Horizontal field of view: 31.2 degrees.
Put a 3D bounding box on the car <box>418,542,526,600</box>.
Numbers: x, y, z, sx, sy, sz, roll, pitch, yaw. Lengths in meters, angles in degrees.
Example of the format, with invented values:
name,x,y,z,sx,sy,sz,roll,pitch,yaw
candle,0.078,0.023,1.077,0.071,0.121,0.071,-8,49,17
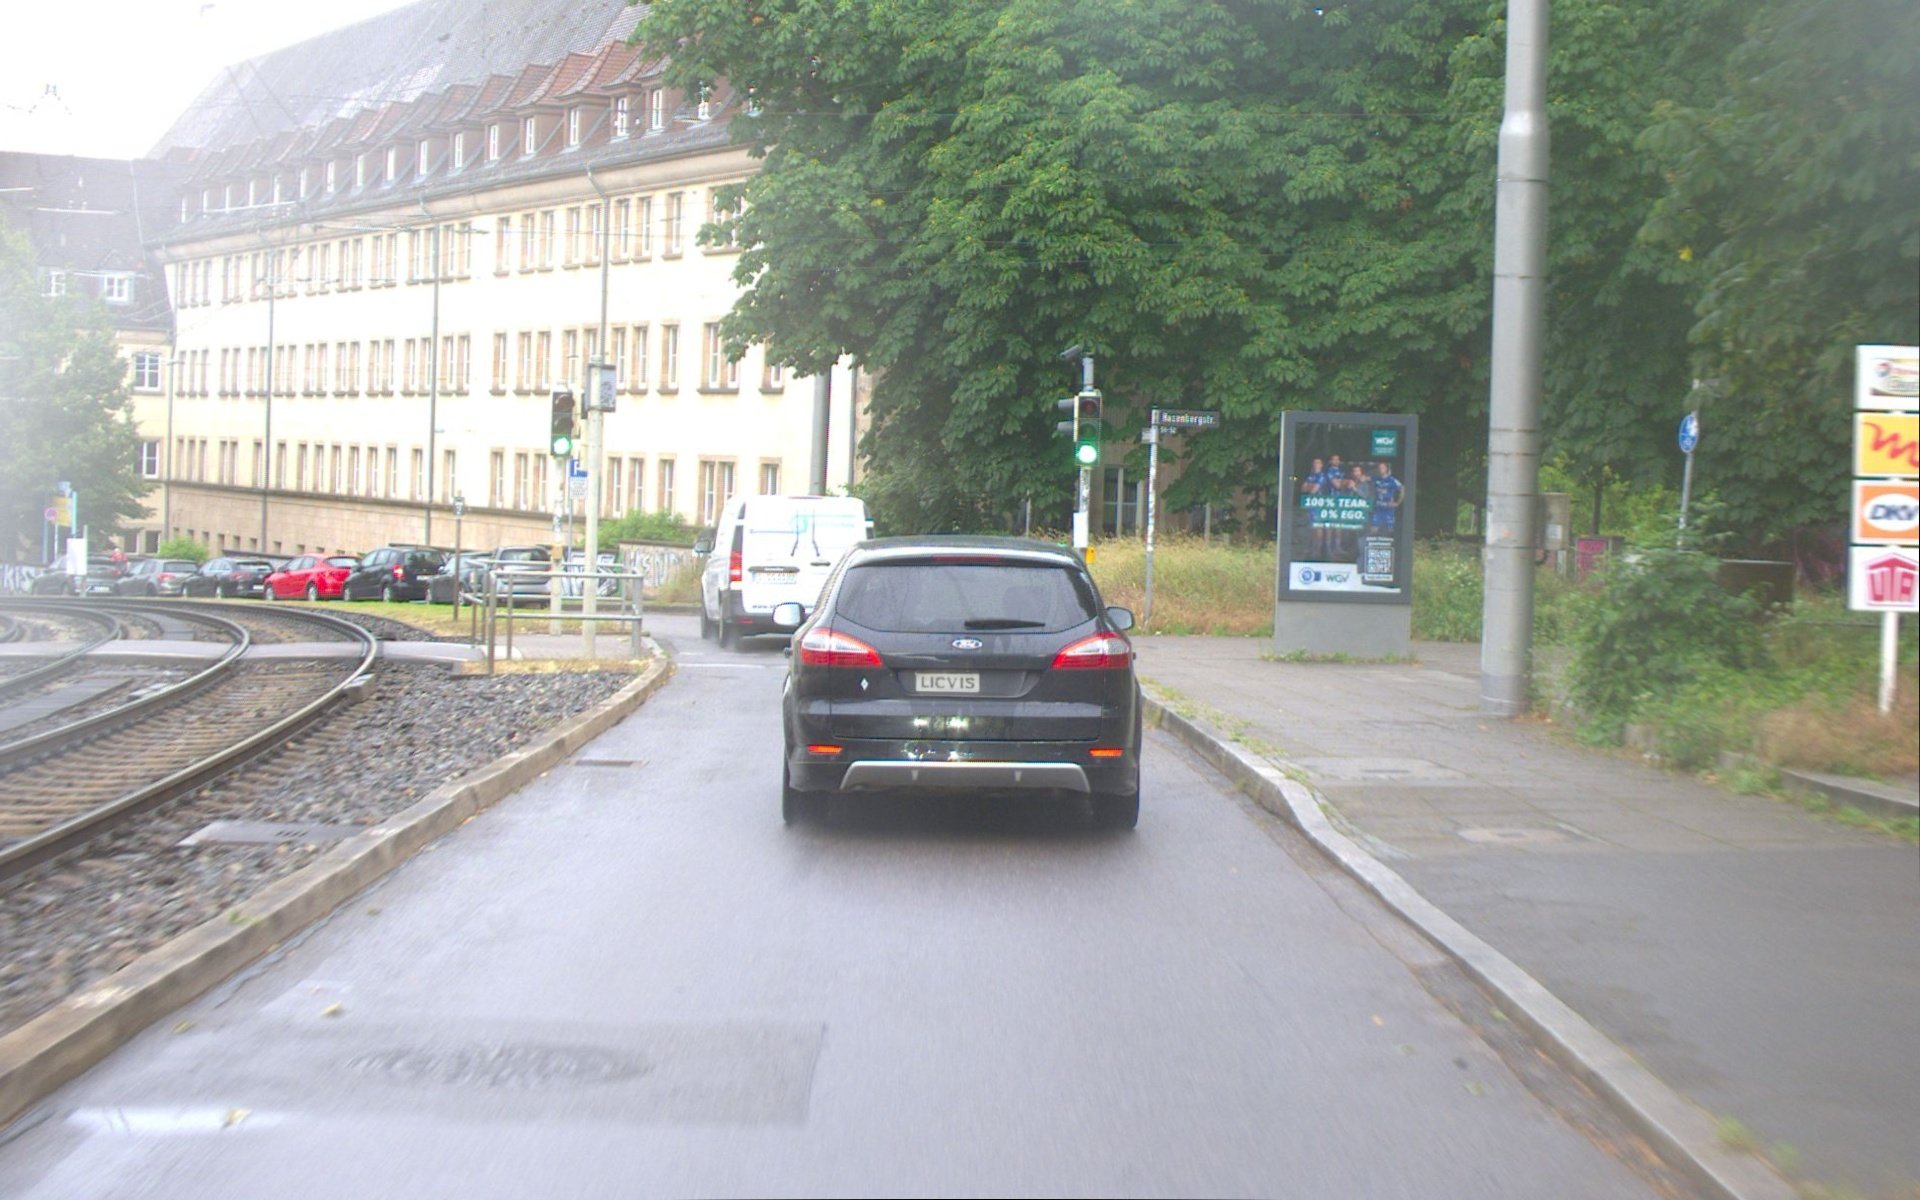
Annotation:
name,x,y,z,sx,sy,sz,roll,pitch,yaw
car,-12.379,-0.735,87.075,1.536,1.411,3.644,-1,1,-28

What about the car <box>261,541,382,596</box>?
name,x,y,z,sx,sy,sz,roll,pitch,yaw
car,-17.949,-0.879,96.540,1.666,1.471,4.065,1,0,-37

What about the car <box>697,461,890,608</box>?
name,x,y,z,sx,sy,sz,roll,pitch,yaw
car,-2.124,-0.812,42.724,2.136,1.739,4.219,0,1,-6

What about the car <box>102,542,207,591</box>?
name,x,y,z,sx,sy,sz,roll,pitch,yaw
car,-24.797,-1.025,105.791,1.666,1.471,4.108,-1,1,-36

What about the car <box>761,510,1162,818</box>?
name,x,y,z,sx,sy,sz,roll,pitch,yaw
car,-0.069,0.266,18.437,1.920,1.474,4.001,0,1,-2

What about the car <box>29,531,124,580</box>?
name,x,y,z,sx,sy,sz,roll,pitch,yaw
car,-28.435,-1.431,110.576,1.665,1.519,4.108,-1,1,-33

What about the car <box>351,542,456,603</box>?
name,x,y,z,sx,sy,sz,roll,pitch,yaw
car,-14.937,-0.741,92.156,1.665,1.567,3.856,-1,1,-27

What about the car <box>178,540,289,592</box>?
name,x,y,z,sx,sy,sz,roll,pitch,yaw
car,-21.371,-1.002,101.046,1.665,1.471,4.457,-1,1,-33

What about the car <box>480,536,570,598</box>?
name,x,y,z,sx,sy,sz,roll,pitch,yaw
car,-10.570,-0.816,83.380,1.597,1.460,2.721,-1,1,-20
